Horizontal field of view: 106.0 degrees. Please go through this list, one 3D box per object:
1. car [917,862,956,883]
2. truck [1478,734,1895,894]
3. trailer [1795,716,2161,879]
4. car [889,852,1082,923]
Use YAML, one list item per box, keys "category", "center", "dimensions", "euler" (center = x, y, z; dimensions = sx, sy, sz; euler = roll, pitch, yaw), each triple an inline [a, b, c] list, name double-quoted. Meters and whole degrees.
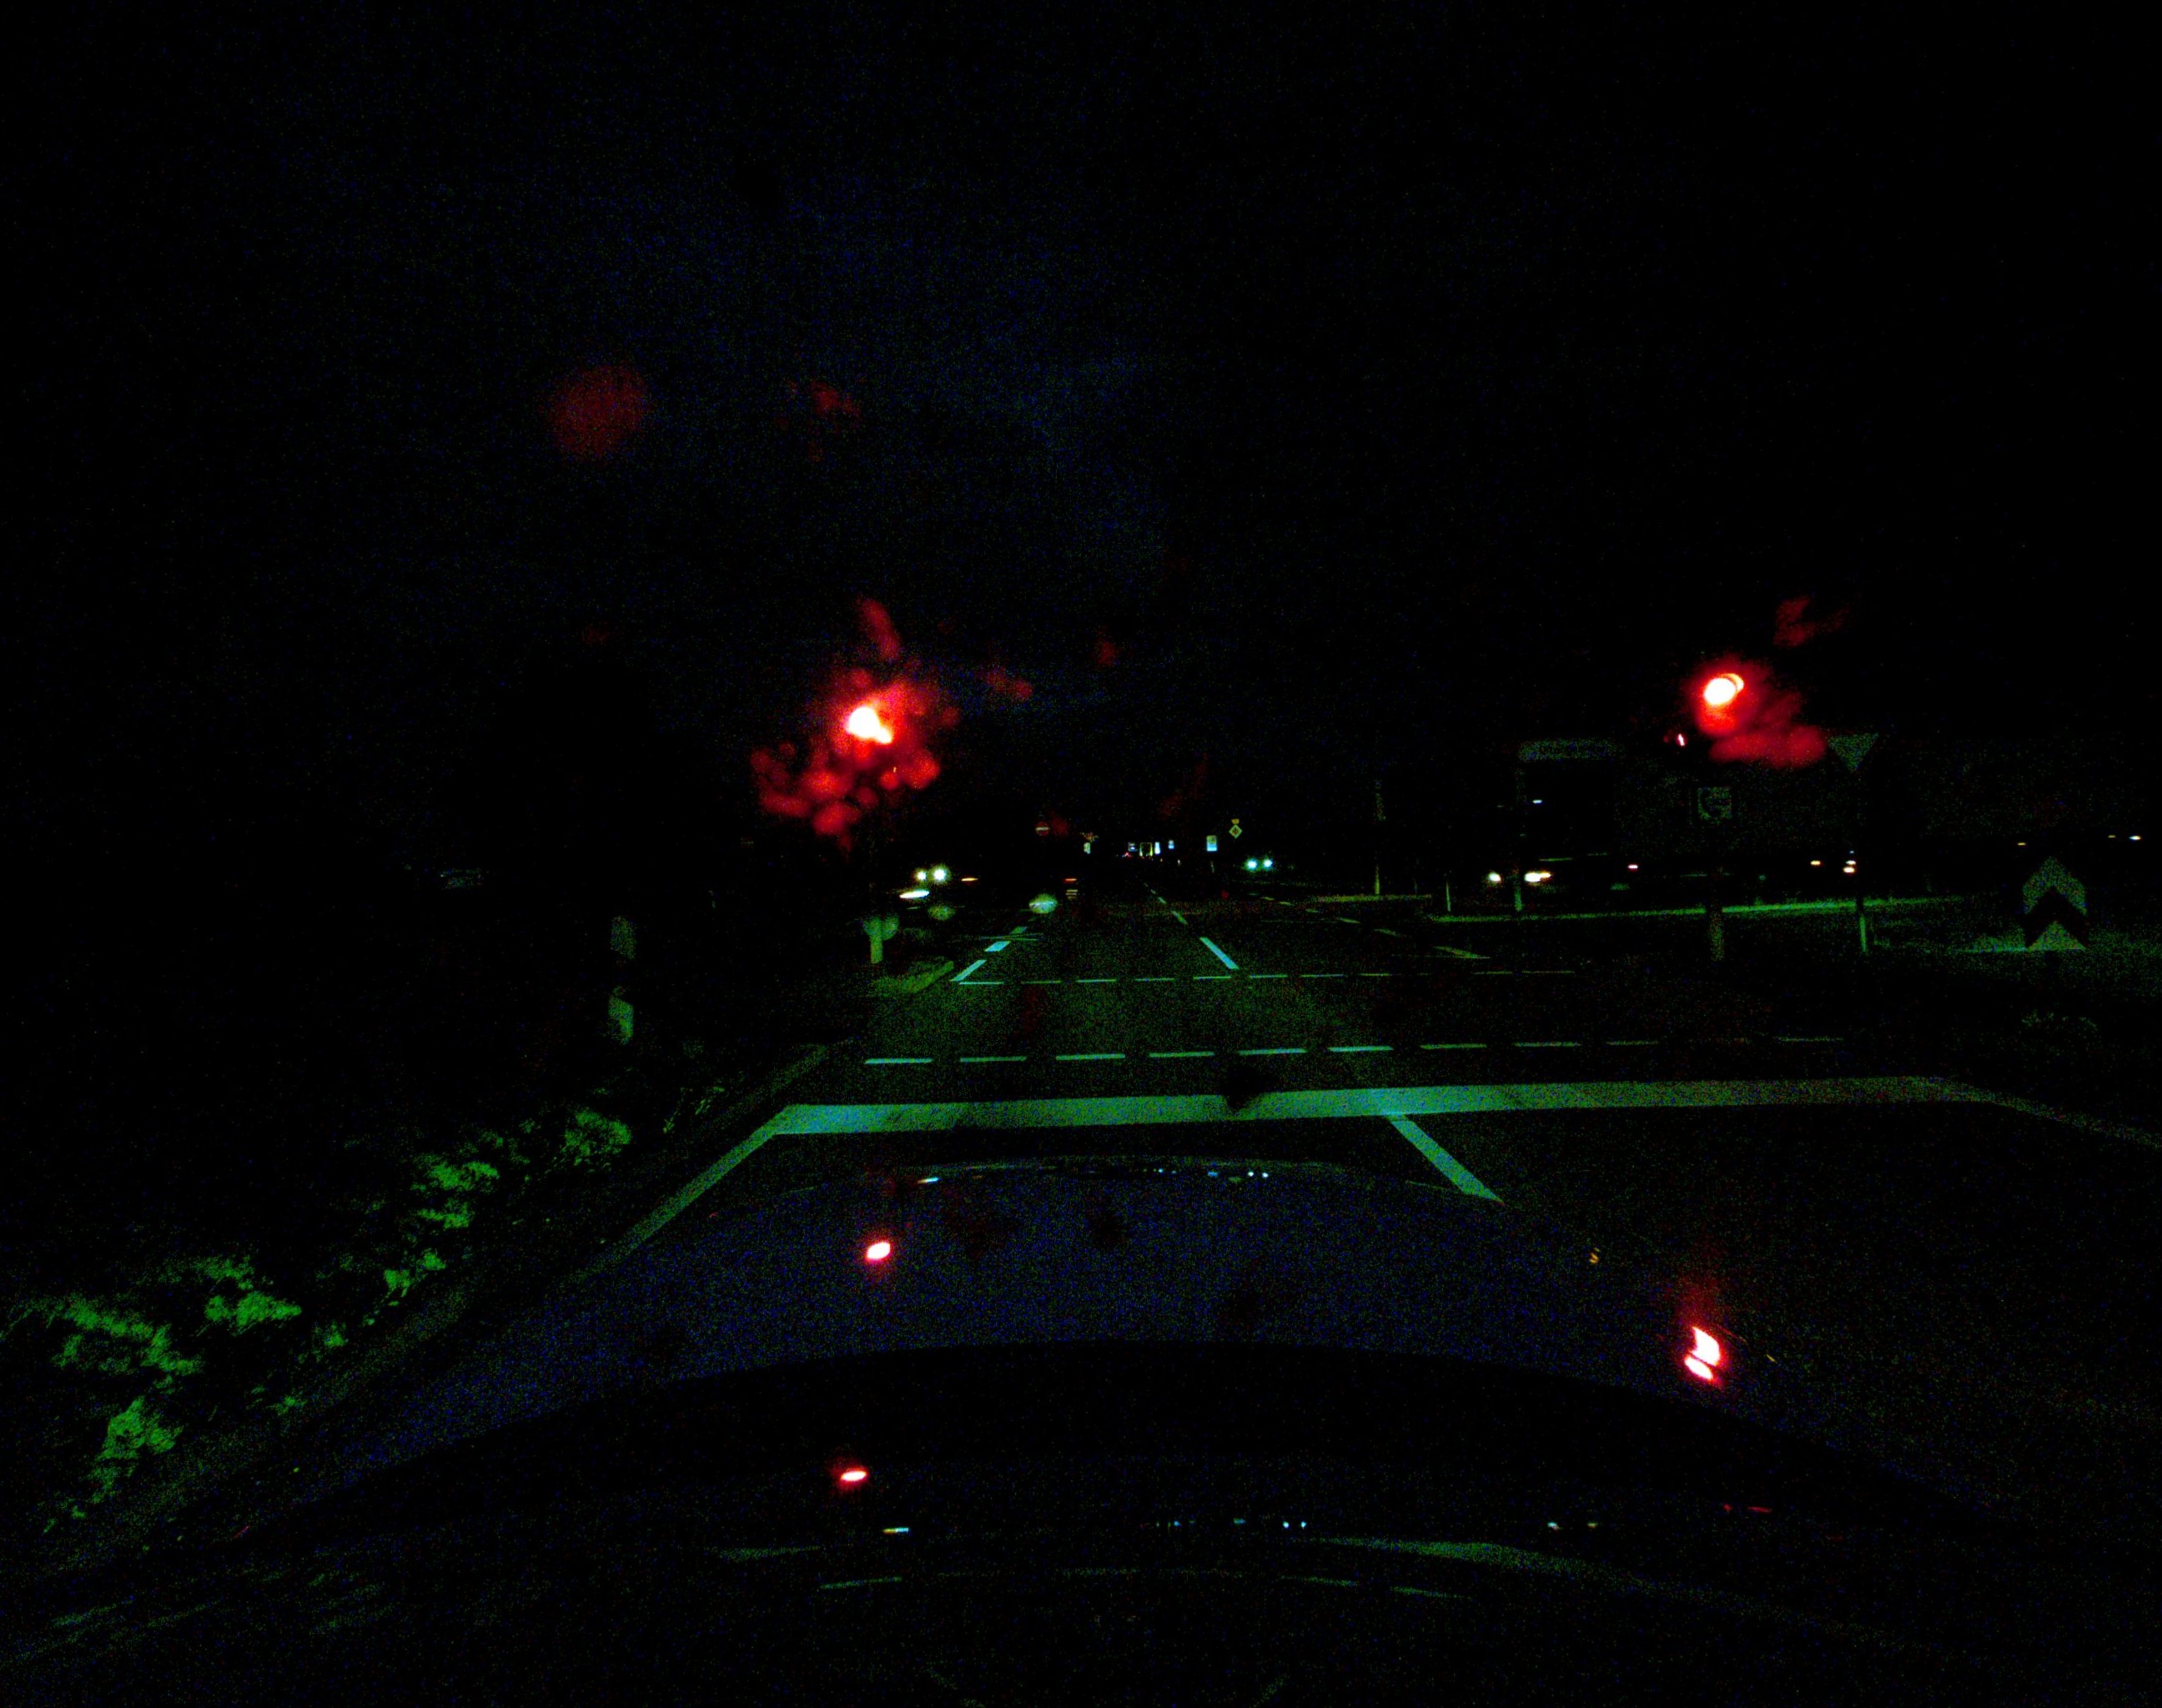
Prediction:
- category: "car"
  center: [-10.460, 1.333, 59.120]
  dimensions: [1.986, 1.387, 4.002]
  euler: [-2, 0, 2]
- category: "truck"
  center: [17.154, -1.111, 23.498]
  dimensions: [10.016, 3.979, 2.922]
  euler: [-2, 0, -3]
- category: "trailer"
  center: [26.846, -1.648, 24.362]
  dimensions: [9.036, 4.302, 2.917]
  euler: [-2, 0, -7]
- category: "car"
  center: [-2.510, 0.818, 21.400]
  dimensions: [4.620, 1.520, 1.985]
  euler: [-3, 0, -22]
